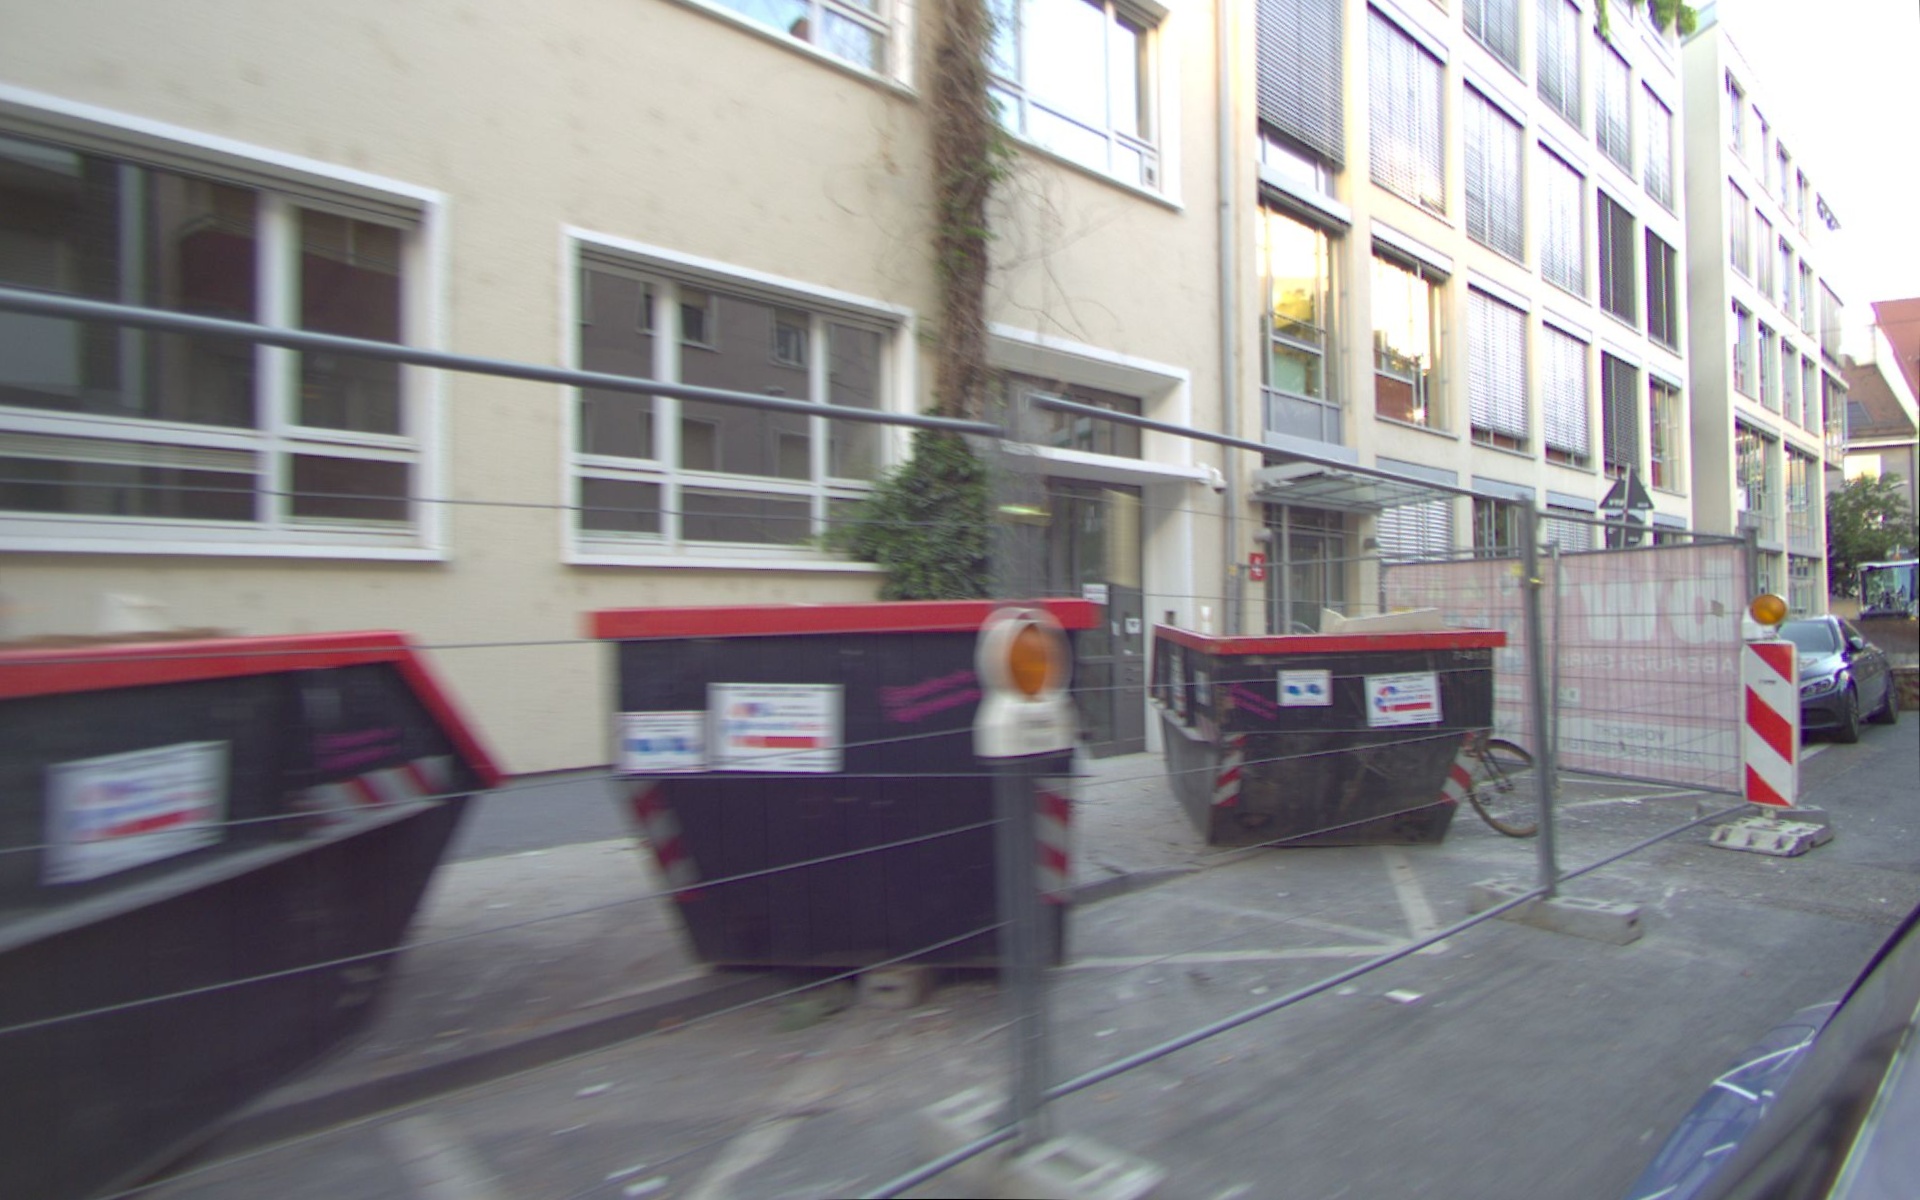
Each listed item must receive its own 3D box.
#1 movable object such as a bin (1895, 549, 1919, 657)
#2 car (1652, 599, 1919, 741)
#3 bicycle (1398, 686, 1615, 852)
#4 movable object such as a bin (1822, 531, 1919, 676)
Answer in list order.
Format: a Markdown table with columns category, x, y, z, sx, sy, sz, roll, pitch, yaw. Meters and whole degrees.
| category | x | y | z | sx | sy | sz | roll | pitch | yaw |
| --- | --- | --- | --- | --- | --- | --- | --- | --- | --- |
| movable object such as a bin | 25.672 | 0.059 | 25.994 | 4.036 | 2.668 | 1.800 | 0 | -1 | -39 |
| car | 10.153 | 0.733 | 12.280 | 4.399 | 1.424 | 1.697 | 0 | -2 | -39 |
| bicycle | 3.650 | 1.086 | 6.899 | 0.389 | 0.909 | 1.493 | 0 | -2 | -13 |
| movable object such as a bin | 19.360 | 0.063 | 20.395 | 5.446 | 2.629 | 2.169 | 0 | -1 | -41 |
